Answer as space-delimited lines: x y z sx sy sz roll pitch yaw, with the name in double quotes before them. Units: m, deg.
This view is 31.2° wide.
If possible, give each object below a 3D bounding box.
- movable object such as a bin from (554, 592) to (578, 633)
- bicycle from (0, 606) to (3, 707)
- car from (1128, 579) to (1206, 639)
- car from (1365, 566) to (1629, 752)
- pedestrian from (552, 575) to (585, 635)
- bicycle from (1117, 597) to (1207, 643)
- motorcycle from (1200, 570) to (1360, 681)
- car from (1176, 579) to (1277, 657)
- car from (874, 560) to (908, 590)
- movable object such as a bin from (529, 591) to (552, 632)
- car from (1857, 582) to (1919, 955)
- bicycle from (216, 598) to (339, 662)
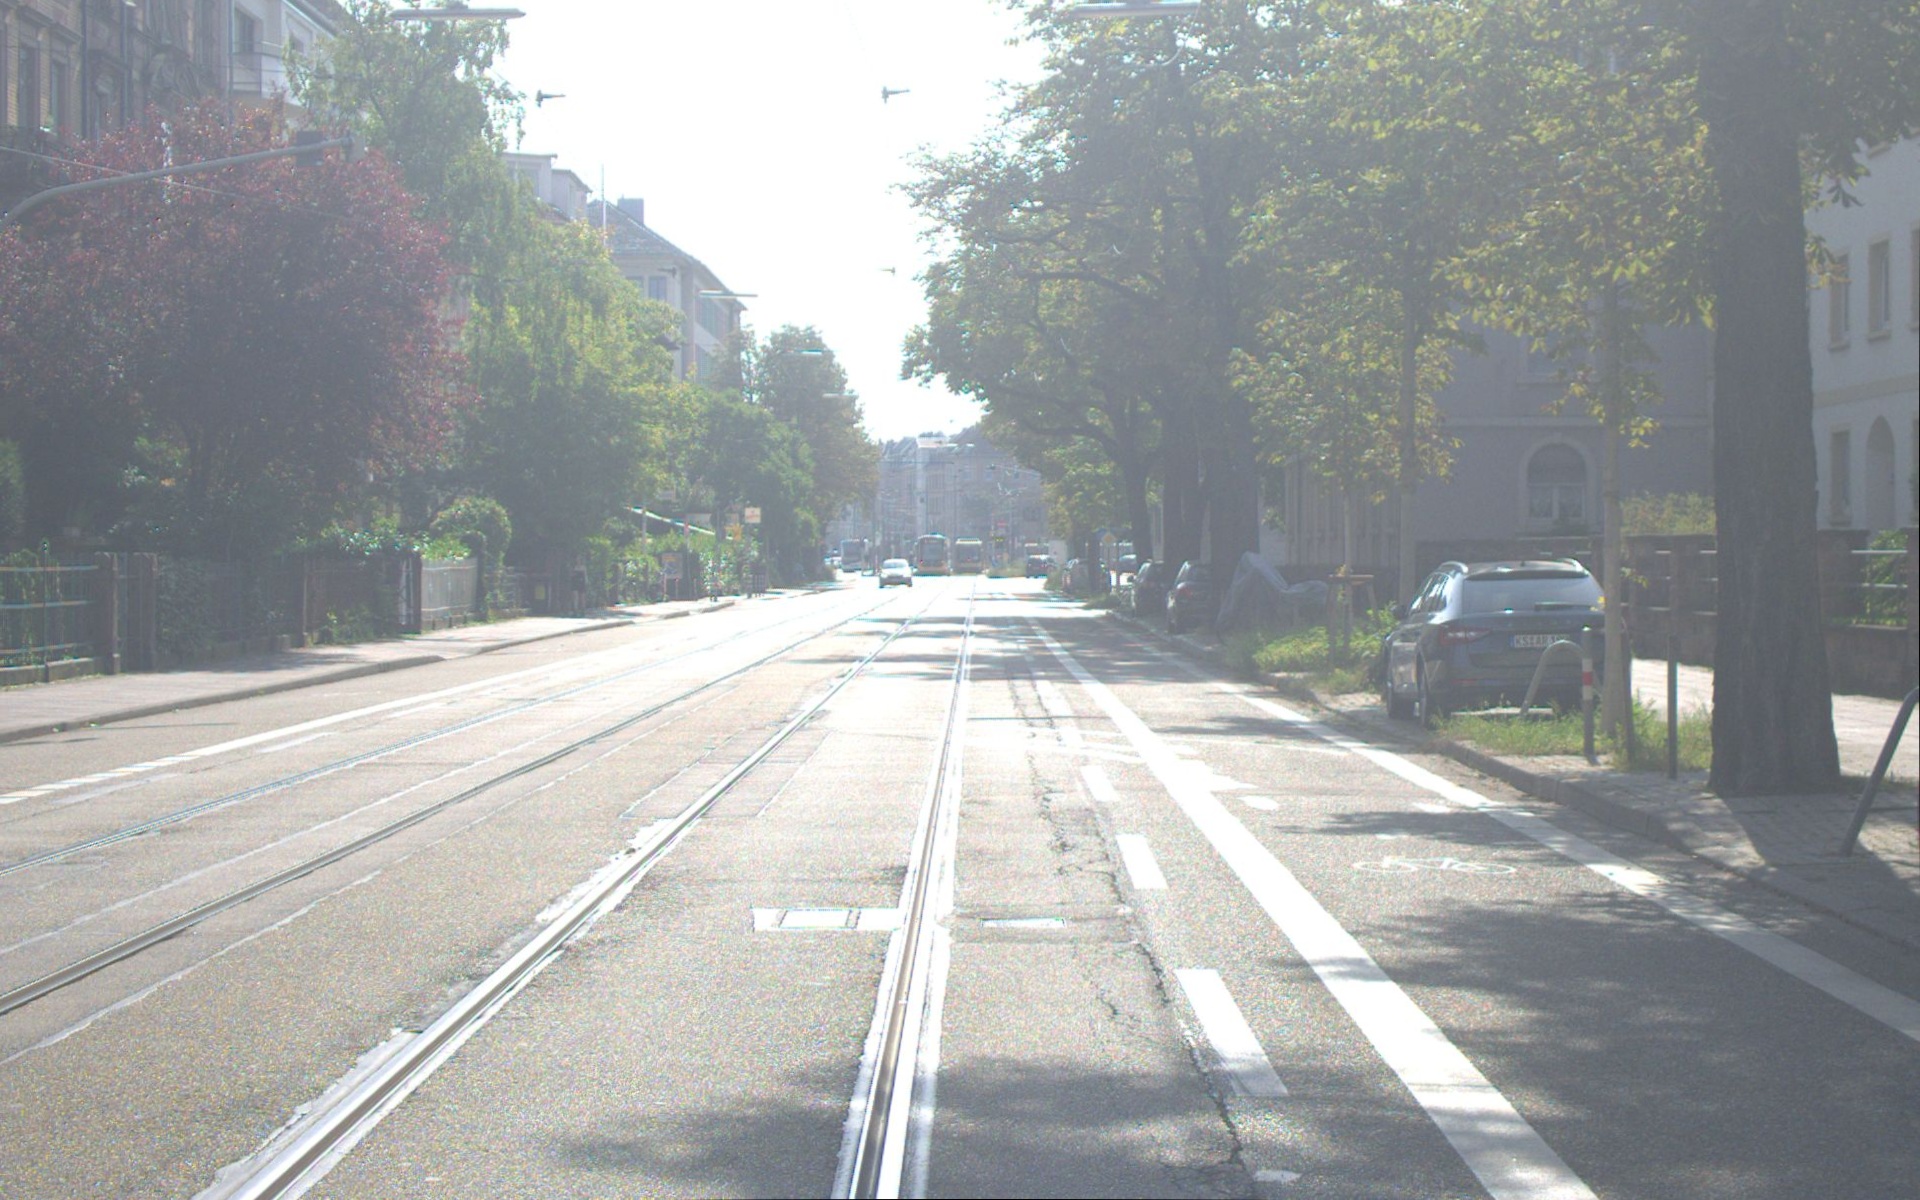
"movable object such as a bin" -10.481 0.322 91.413 0.631 1.074 0.705 0 0 -5
"bicycle" -10.801 0.628 36.826 0.508 1.104 2.003 0 0 1
"car" 5.193 0.229 86.707 1.772 1.468 3.974 -1 0 1
"car" 4.814 0.488 31.388 1.743 1.555 4.719 -1 0 1
"pedestrian" -10.420 0.120 91.519 0.752 1.586 0.878 0 0 1
"bicycle" 4.877 0.477 82.950 2.106 1.101 0.563 0 0 -6
"motorcycle" 4.993 0.405 53.747 0.911 1.668 2.418 -3 1 -45
"car" 5.374 0.355 69.673 1.726 1.499 3.984 -2 0 1
"car" -3.817 -1.376 190.357 1.726 1.632 3.984 0 0 1
"movable object such as a bin" -11.152 0.303 91.354 0.589 1.074 0.705 0 0 -5
"car" 4.682 0.656 12.579 1.689 1.497 4.096 -2 0 0
"bicycle" -11.709 0.513 59.019 2.015 1.100 0.588 0 0 -2
